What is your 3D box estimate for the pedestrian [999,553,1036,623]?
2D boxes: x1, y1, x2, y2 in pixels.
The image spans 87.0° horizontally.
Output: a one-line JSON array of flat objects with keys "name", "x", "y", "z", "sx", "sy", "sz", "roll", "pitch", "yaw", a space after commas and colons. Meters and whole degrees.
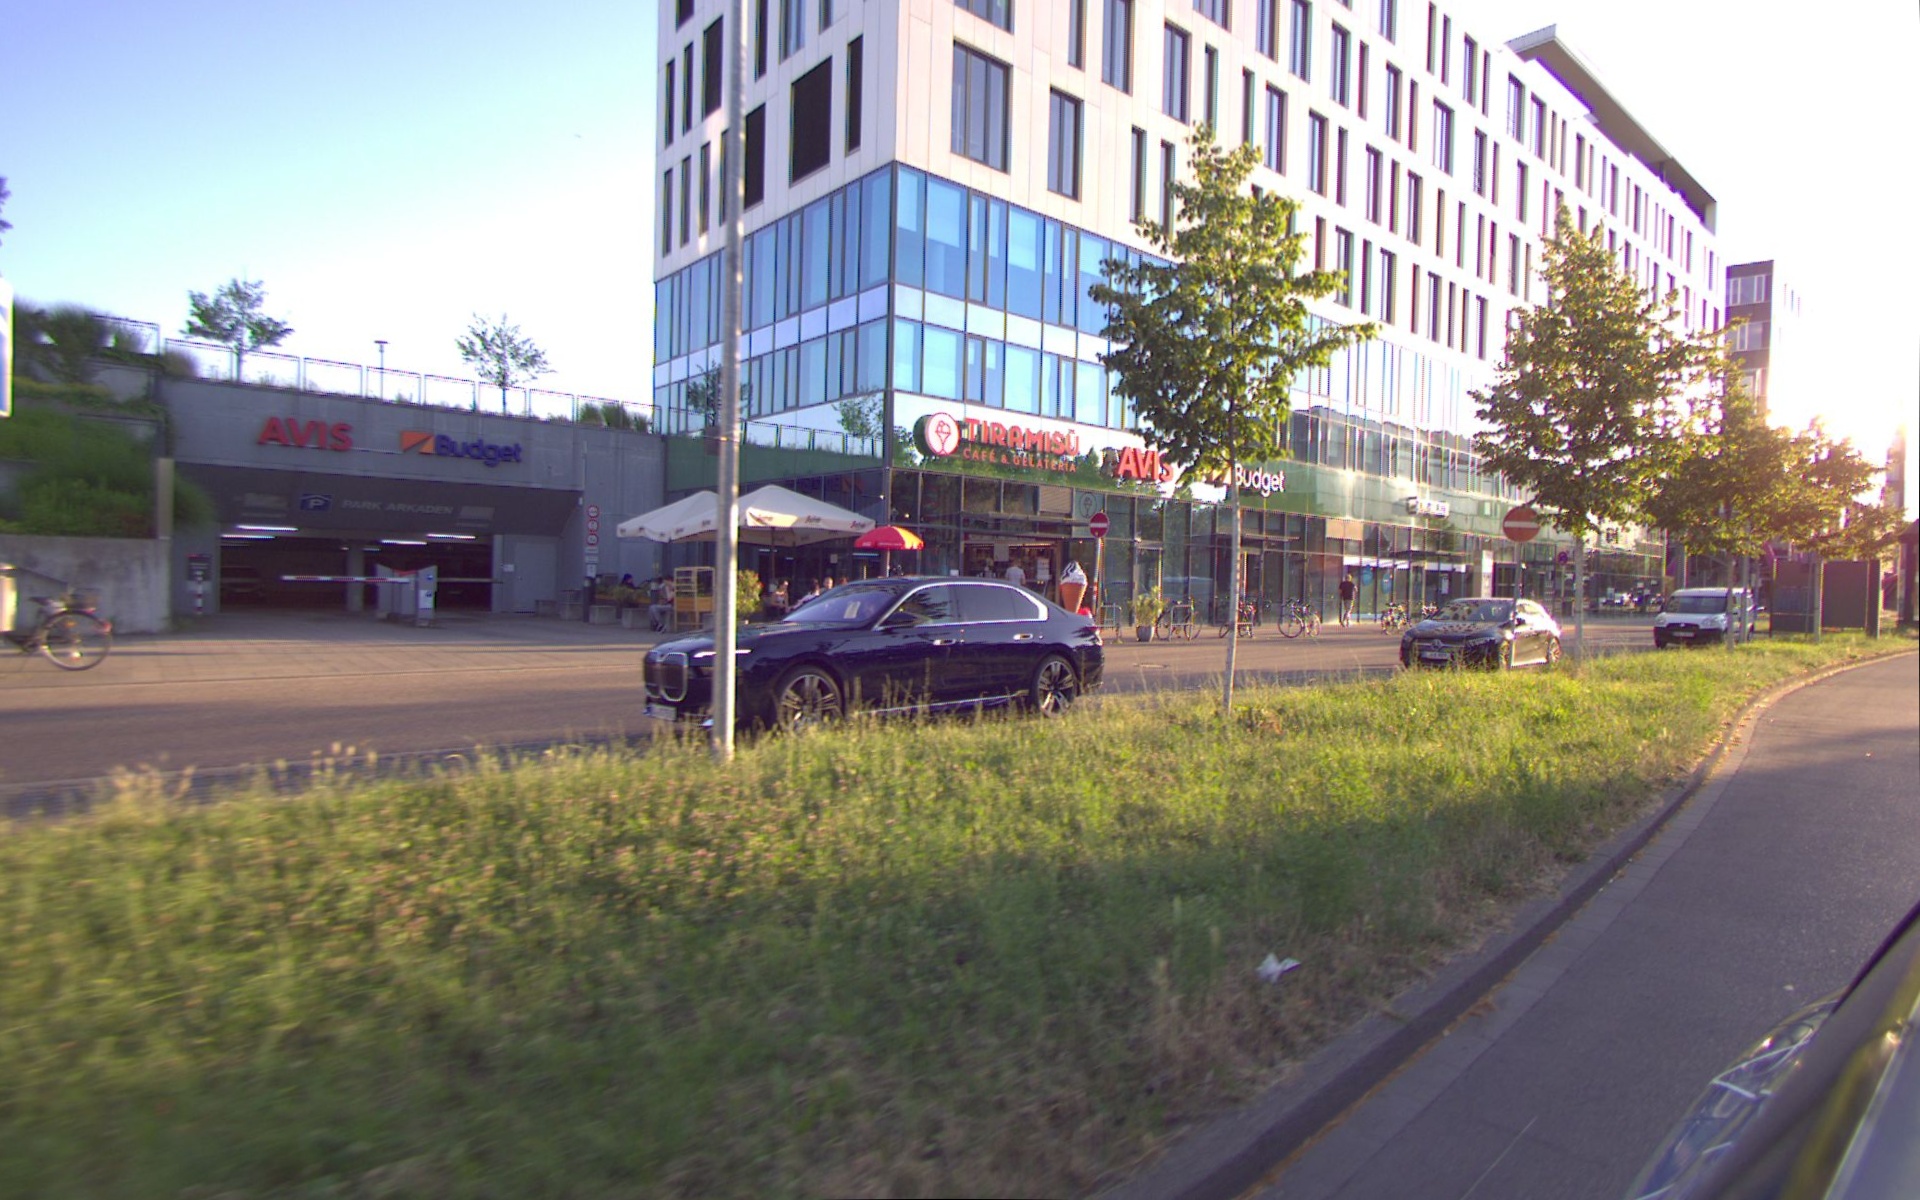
[{"name": "pedestrian", "x": 1.513, "y": -0.331, "z": 26.552, "sx": 0.670, "sy": 1.781, "sz": 0.664, "roll": 2, "pitch": 2, "yaw": -23}]

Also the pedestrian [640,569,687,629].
[{"name": "pedestrian", "x": -6.503, "y": -0.030, "z": 22.185, "sx": 0.757, "sy": 1.281, "sz": 0.744, "roll": 1, "pitch": 1, "yaw": -40}]

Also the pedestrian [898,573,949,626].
[{"name": "pedestrian", "x": -0.851, "y": -0.019, "z": 23.466, "sx": 0.672, "sy": 1.139, "sz": 0.975, "roll": 1, "pitch": 3, "yaw": -40}]

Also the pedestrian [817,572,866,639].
[{"name": "pedestrian", "x": -2.435, "y": 0.105, "z": 20.828, "sx": 0.671, "sy": 1.306, "sz": 0.778, "roll": 1, "pitch": 3, "yaw": -34}]

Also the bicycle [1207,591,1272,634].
[{"name": "bicycle", "x": 7.477, "y": 0.325, "z": 27.016, "sx": 2.038, "sy": 1.076, "sz": 0.684, "roll": 1, "pitch": 3, "yaw": -44}]

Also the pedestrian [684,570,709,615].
[{"name": "pedestrian", "x": -7.306, "y": -0.209, "z": 28.009, "sx": 0.525, "sy": 1.230, "sz": 0.476, "roll": 1, "pitch": 1, "yaw": -34}]

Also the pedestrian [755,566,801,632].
[{"name": "pedestrian", "x": -3.794, "y": -0.038, "z": 21.107, "sx": 0.654, "sy": 1.306, "sz": 0.681, "roll": 3, "pitch": 2, "yaw": 17}]

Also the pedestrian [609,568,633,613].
[{"name": "pedestrian", "x": -9.436, "y": -0.261, "z": 28.168, "sx": 0.525, "sy": 1.230, "sz": 0.476, "roll": 1, "pitch": 1, "yaw": -34}]

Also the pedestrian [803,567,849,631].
[{"name": "pedestrian", "x": -2.866, "y": -0.026, "z": 21.640, "sx": 0.681, "sy": 1.306, "sz": 0.621, "roll": 4, "pitch": 3, "yaw": 37}]

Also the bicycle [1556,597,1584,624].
[{"name": "bicycle", "x": 24.909, "y": 0.411, "z": 41.320, "sx": 0.529, "sy": 1.053, "sz": 2.041, "roll": 5, "pitch": 3, "yaw": 43}]

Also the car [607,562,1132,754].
[{"name": "car", "x": -0.678, "y": 0.446, "z": 10.510, "sx": 5.317, "sy": 1.519, "sz": 1.923, "roll": 0, "pitch": 1, "yaw": -41}]

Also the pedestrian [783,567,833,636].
[{"name": "pedestrian", "x": -3.056, "y": 0.023, "z": 20.310, "sx": 0.671, "sy": 1.306, "sz": 0.783, "roll": 1, "pitch": 3, "yaw": -34}]

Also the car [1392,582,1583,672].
[{"name": "car", "x": 10.344, "y": 0.463, "z": 19.706, "sx": 4.401, "sy": 1.519, "sz": 1.812, "roll": 0, "pitch": 1, "yaw": -41}]

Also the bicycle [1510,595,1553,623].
[{"name": "bicycle", "x": 22.488, "y": 0.354, "z": 39.805, "sx": 1.838, "sy": 1.053, "sz": 0.532, "roll": 2, "pitch": 2, "yaw": -29}]

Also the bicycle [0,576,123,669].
[{"name": "bicycle", "x": -11.007, "y": 0.251, "z": 11.773, "sx": 1.872, "sy": 1.056, "sz": 0.546, "roll": 1, "pitch": 1, "yaw": -21}]

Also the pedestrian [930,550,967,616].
[{"name": "pedestrian", "x": -0.311, "y": -0.473, "z": 27.840, "sx": 0.672, "sy": 1.781, "sz": 0.662, "roll": 1, "pitch": 3, "yaw": -39}]

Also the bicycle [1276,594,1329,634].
[{"name": "bicycle", "x": 9.654, "y": 0.374, "z": 28.487, "sx": 0.597, "sy": 1.053, "sz": 2.041, "roll": 5, "pitch": 3, "yaw": 43}]

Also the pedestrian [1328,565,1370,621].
[{"name": "pedestrian", "x": 13.547, "y": -0.253, "z": 35.229, "sx": 0.931, "sy": 1.906, "sz": 1.028, "roll": 1, "pitch": 1, "yaw": -41}]

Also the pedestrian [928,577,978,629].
[{"name": "pedestrian", "x": -0.175, "y": 0.059, "z": 23.858, "sx": 0.672, "sy": 1.139, "sz": 0.975, "roll": 1, "pitch": 3, "yaw": -40}]

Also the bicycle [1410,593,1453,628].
[{"name": "bicycle", "x": 15.812, "y": 0.345, "z": 33.886, "sx": 2.110, "sy": 1.122, "sz": 0.388, "roll": 0, "pitch": 4, "yaw": -41}]

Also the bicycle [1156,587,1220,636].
[{"name": "bicycle", "x": 5.743, "y": 0.288, "z": 25.447, "sx": 1.843, "sy": 1.147, "sz": 0.640, "roll": 1, "pitch": 3, "yaw": -45}]

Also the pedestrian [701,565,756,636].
[{"name": "pedestrian", "x": -4.648, "y": 0.000, "z": 20.334, "sx": 0.741, "sy": 1.385, "sz": 0.760, "roll": 2, "pitch": 1, "yaw": 38}]

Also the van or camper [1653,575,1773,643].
[{"name": "van or camper", "x": 23.289, "y": 0.262, "z": 31.234, "sx": 4.744, "sy": 1.944, "sz": 1.962, "roll": 0, "pitch": 0, "yaw": -40}]

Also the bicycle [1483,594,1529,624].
[{"name": "bicycle", "x": 20.443, "y": 0.355, "z": 37.852, "sx": 1.878, "sy": 1.053, "sz": 0.532, "roll": 2, "pitch": 2, "yaw": -29}]
